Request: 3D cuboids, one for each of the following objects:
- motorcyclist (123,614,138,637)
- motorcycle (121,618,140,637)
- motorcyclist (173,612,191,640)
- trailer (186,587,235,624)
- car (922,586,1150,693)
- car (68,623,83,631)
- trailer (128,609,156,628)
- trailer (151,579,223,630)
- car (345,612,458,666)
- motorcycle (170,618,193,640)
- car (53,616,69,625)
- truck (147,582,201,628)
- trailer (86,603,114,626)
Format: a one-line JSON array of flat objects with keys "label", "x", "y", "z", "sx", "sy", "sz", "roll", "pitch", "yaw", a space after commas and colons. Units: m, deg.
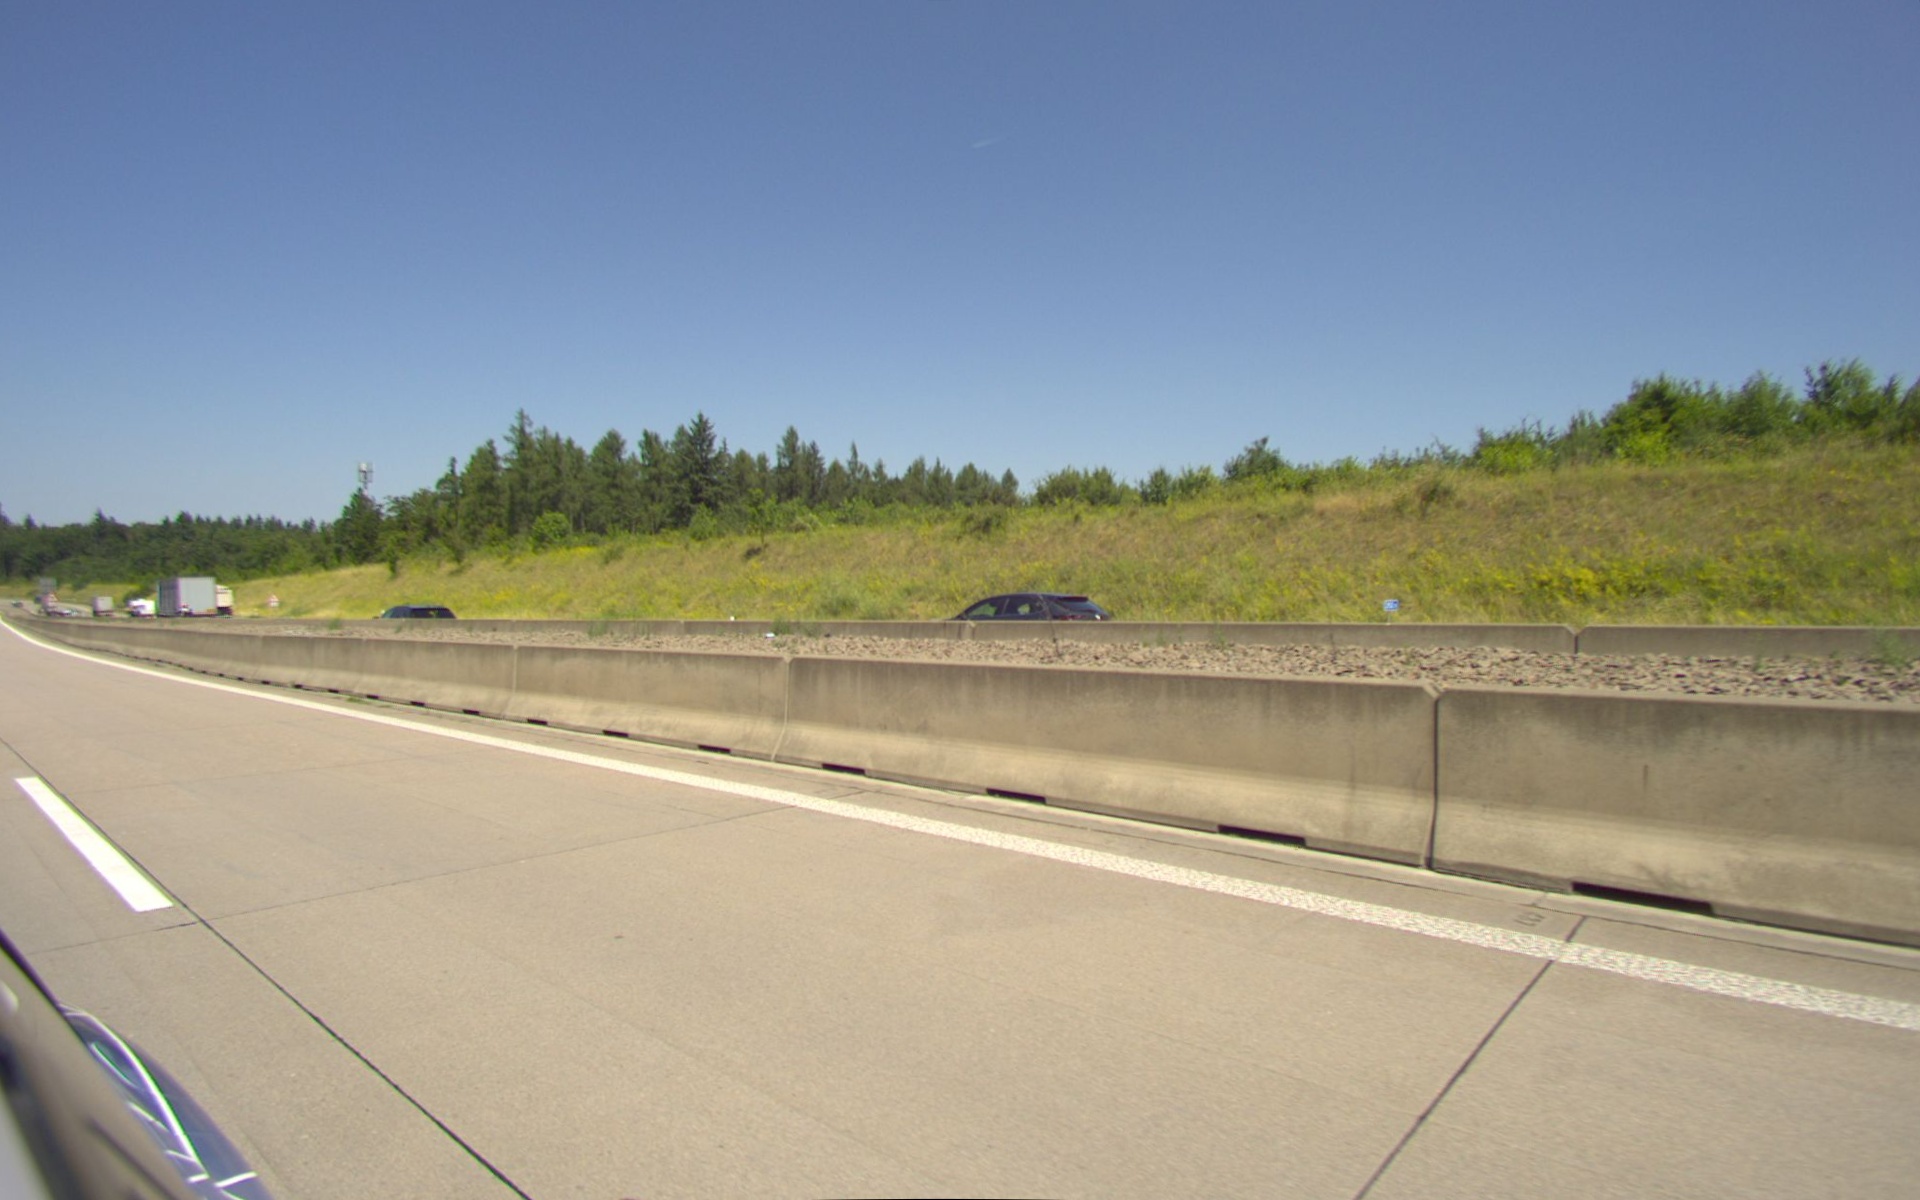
[{"label": "motorcyclist", "x": -68.460, "y": 2.093, "z": 83.486, "sx": 1.492, "sy": 1.888, "sz": 0.809, "roll": -1, "pitch": -1, "yaw": 45}, {"label": "motorcycle", "x": -68.373, "y": 2.256, "z": 83.397, "sx": 2.485, "sy": 1.561, "sz": 0.996, "roll": -1, "pitch": -1, "yaw": 45}, {"label": "motorcyclist", "x": -48.778, "y": 1.642, "z": 63.422, "sx": 1.525, "sy": 1.722, "sz": 0.685, "roll": -1, "pitch": -1, "yaw": 45}, {"label": "trailer", "x": -74.698, "y": 0.544, "z": 100.785, "sx": 2.694, "sy": 3.438, "sz": 8.961, "roll": -3, "pitch": 2, "yaw": -44}, {"label": "car", "x": 1.362, "y": 0.693, "z": 19.057, "sx": 3.998, "sy": 1.810, "sz": 1.801, "roll": -1, "pitch": -1, "yaw": 41}, {"label": "car", "x": -173.619, "y": 5.323, "z": 198.712, "sx": 1.970, "sy": 1.570, "sz": 4.502, "roll": -2, "pitch": 0, "yaw": -44}, {"label": "trailer", "x": -121.127, "y": 2.796, "z": 149.821, "sx": 2.576, "sy": 2.651, "sz": 7.787, "roll": -2, "pitch": 0, "yaw": -44}, {"label": "trailer", "x": -65.805, "y": 0.374, "z": 85.990, "sx": 3.125, "sy": 3.961, "sz": 13.877, "roll": -3, "pitch": 2, "yaw": -44}, {"label": "car", "x": -17.893, "y": 1.205, "z": 32.353, "sx": 3.999, "sy": 1.597, "sz": 1.972, "roll": -1, "pitch": -1, "yaw": 42}, {"label": "motorcycle", "x": -48.888, "y": 1.823, "z": 63.563, "sx": 2.358, "sy": 1.382, "sz": 0.815, "roll": -1, "pitch": -1, "yaw": 45}, {"label": "car", "x": -159.122, "y": 3.567, "z": 179.127, "sx": 1.970, "sy": 1.530, "sz": 4.003, "roll": -2, "pitch": 0, "yaw": -44}, {"label": "truck", "x": -70.775, "y": 0.431, "z": 91.101, "sx": 3.125, "sy": 3.961, "sz": 5.841, "roll": -3, "pitch": 2, "yaw": -44}, {"label": "trailer", "x": -175.922, "y": 2.922, "z": 206.858, "sx": 3.348, "sy": 4.464, "sz": 13.935, "roll": -3, "pitch": 2, "yaw": -44}]
